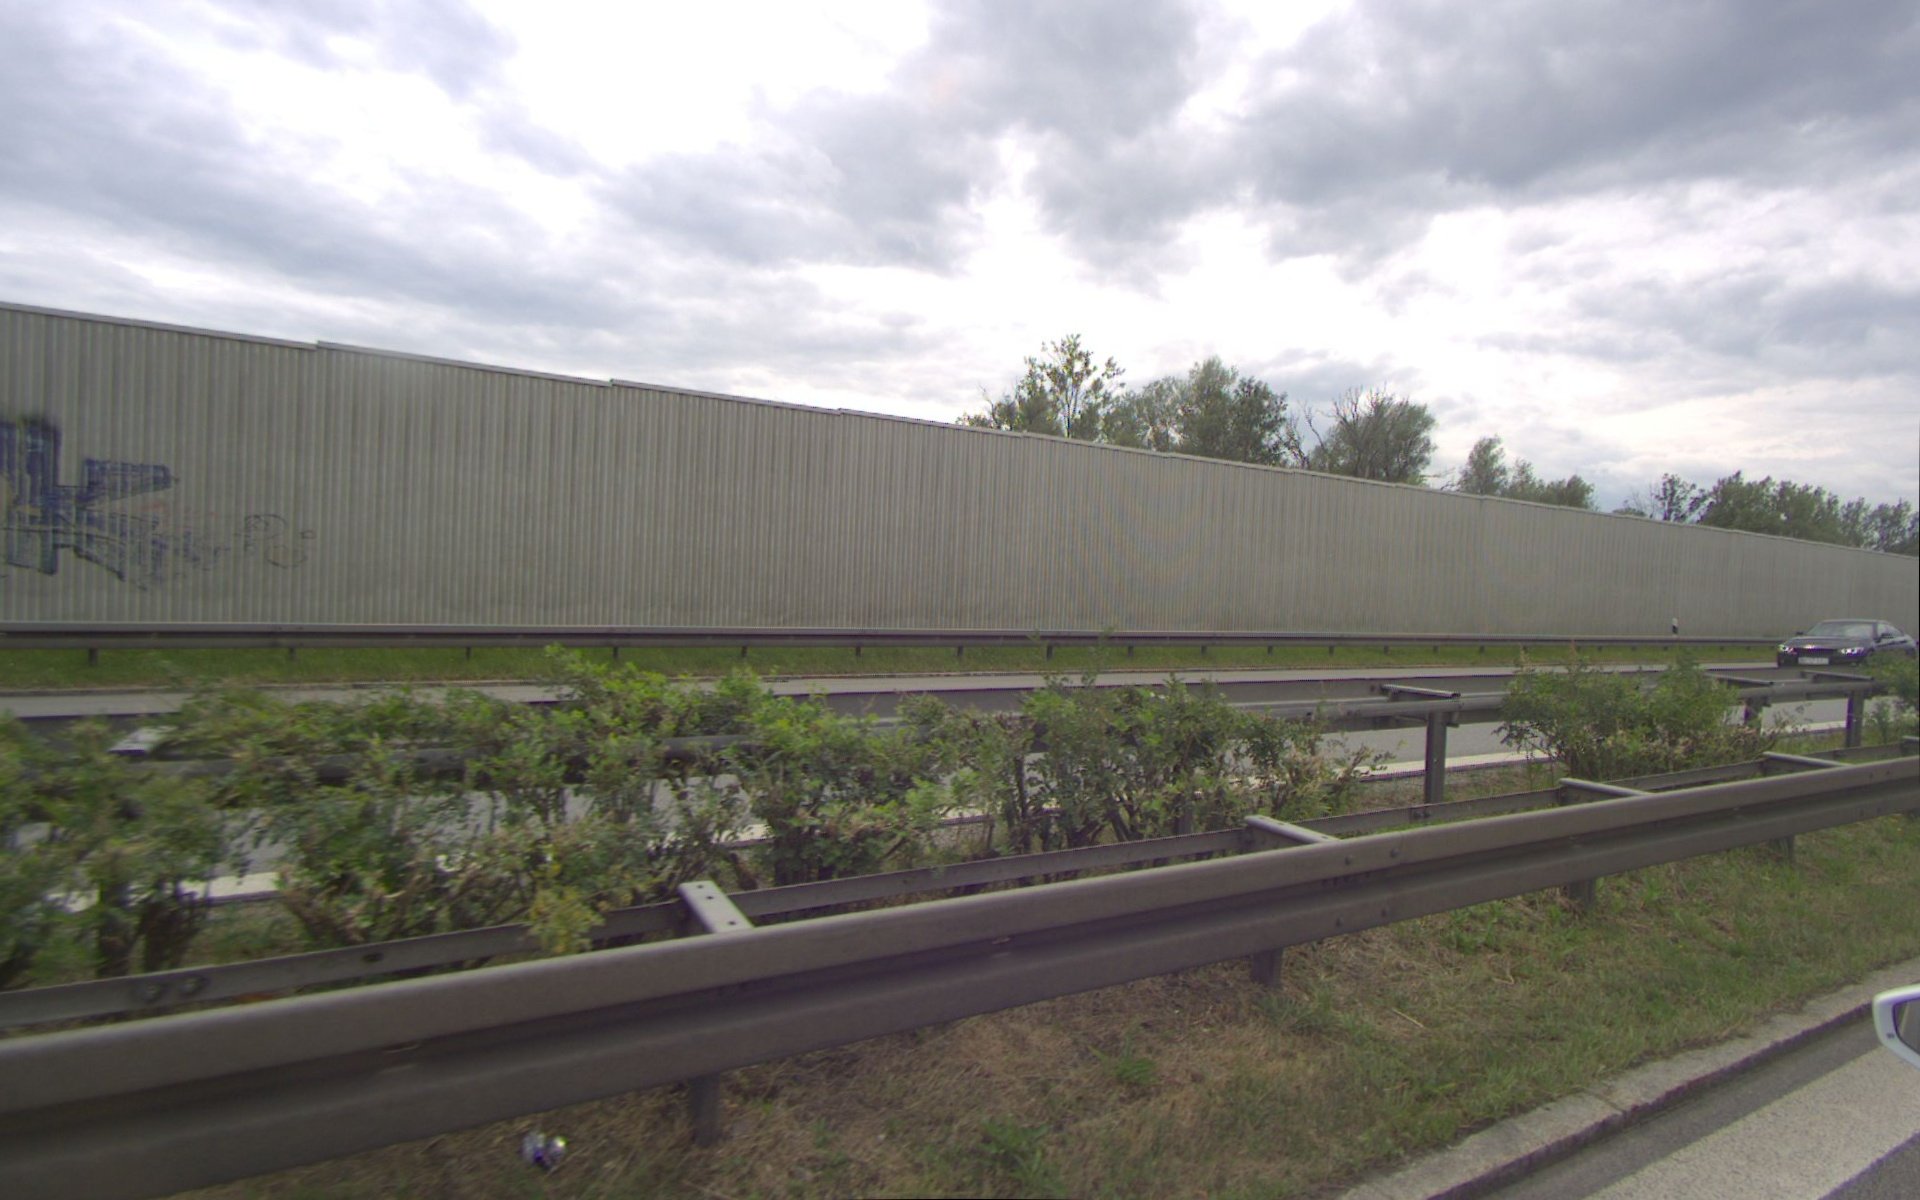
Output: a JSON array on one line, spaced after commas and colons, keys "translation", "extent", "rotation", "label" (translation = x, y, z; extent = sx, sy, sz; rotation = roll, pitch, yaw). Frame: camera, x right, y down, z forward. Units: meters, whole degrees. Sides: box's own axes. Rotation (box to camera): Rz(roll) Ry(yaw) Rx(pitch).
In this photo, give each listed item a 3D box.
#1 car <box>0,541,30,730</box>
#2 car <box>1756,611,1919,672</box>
[{"translation": [-9.119, 0.225, 6.304], "extent": [4.501, 1.436, 1.714], "rotation": [1, -1, -30], "label": "car"}, {"translation": [22.634, 1.029, 25.662], "extent": [4.911, 1.382, 1.983], "rotation": [1, 0, -31], "label": "car"}]
